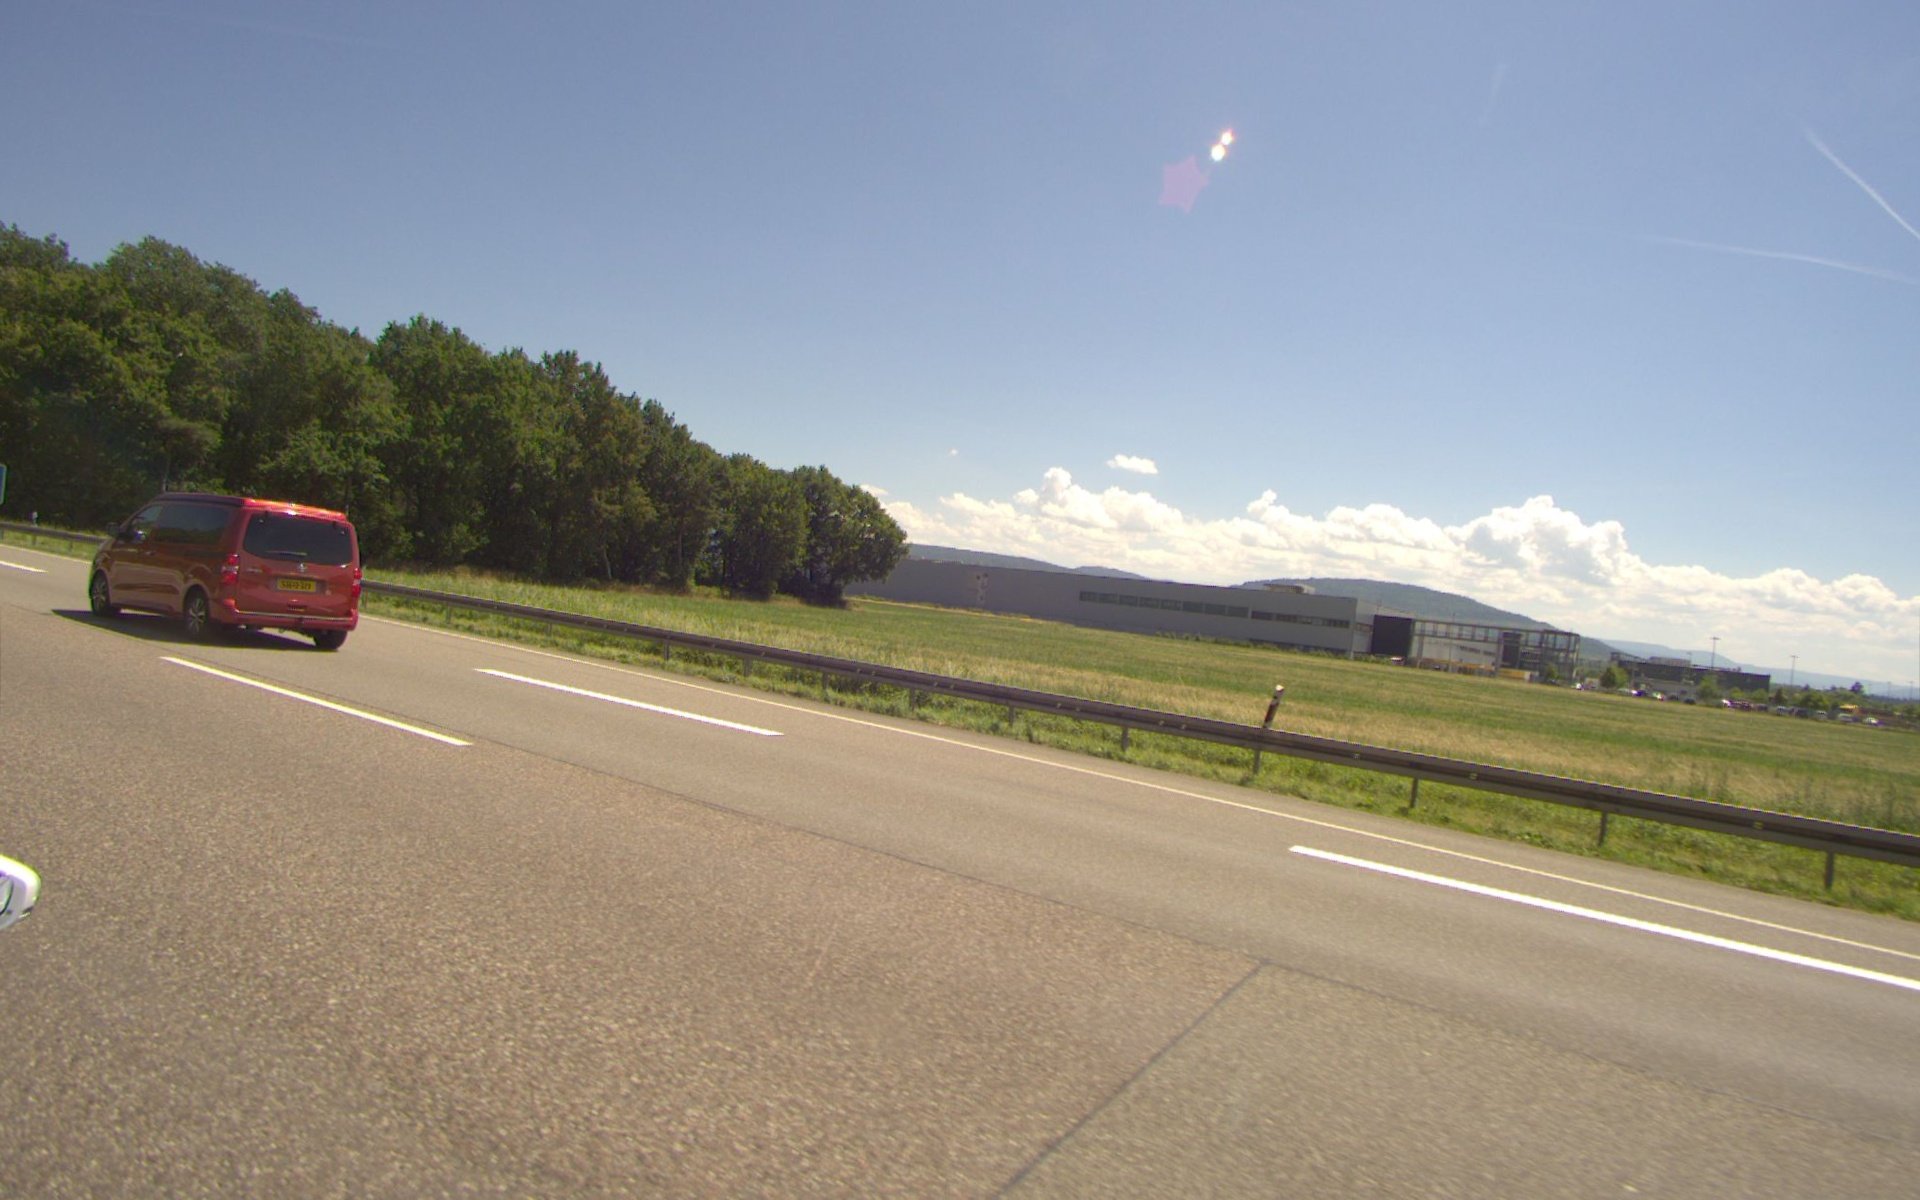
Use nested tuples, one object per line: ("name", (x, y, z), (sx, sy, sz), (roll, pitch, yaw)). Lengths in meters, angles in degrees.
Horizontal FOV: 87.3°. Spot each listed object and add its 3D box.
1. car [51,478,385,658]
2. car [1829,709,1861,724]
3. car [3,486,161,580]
("car", (-11.135, -0.523, 14.964), (5.429, 2.026, 1.860), (6, -1, 30))
("car", (155.197, 20.491, 176.452), (3.939, 2.038, 1.869), (6, 0, 36))
("car", (-23.822, -1.821, 27.269), (3.933, 2.038, 1.996), (7, -1, 31))
